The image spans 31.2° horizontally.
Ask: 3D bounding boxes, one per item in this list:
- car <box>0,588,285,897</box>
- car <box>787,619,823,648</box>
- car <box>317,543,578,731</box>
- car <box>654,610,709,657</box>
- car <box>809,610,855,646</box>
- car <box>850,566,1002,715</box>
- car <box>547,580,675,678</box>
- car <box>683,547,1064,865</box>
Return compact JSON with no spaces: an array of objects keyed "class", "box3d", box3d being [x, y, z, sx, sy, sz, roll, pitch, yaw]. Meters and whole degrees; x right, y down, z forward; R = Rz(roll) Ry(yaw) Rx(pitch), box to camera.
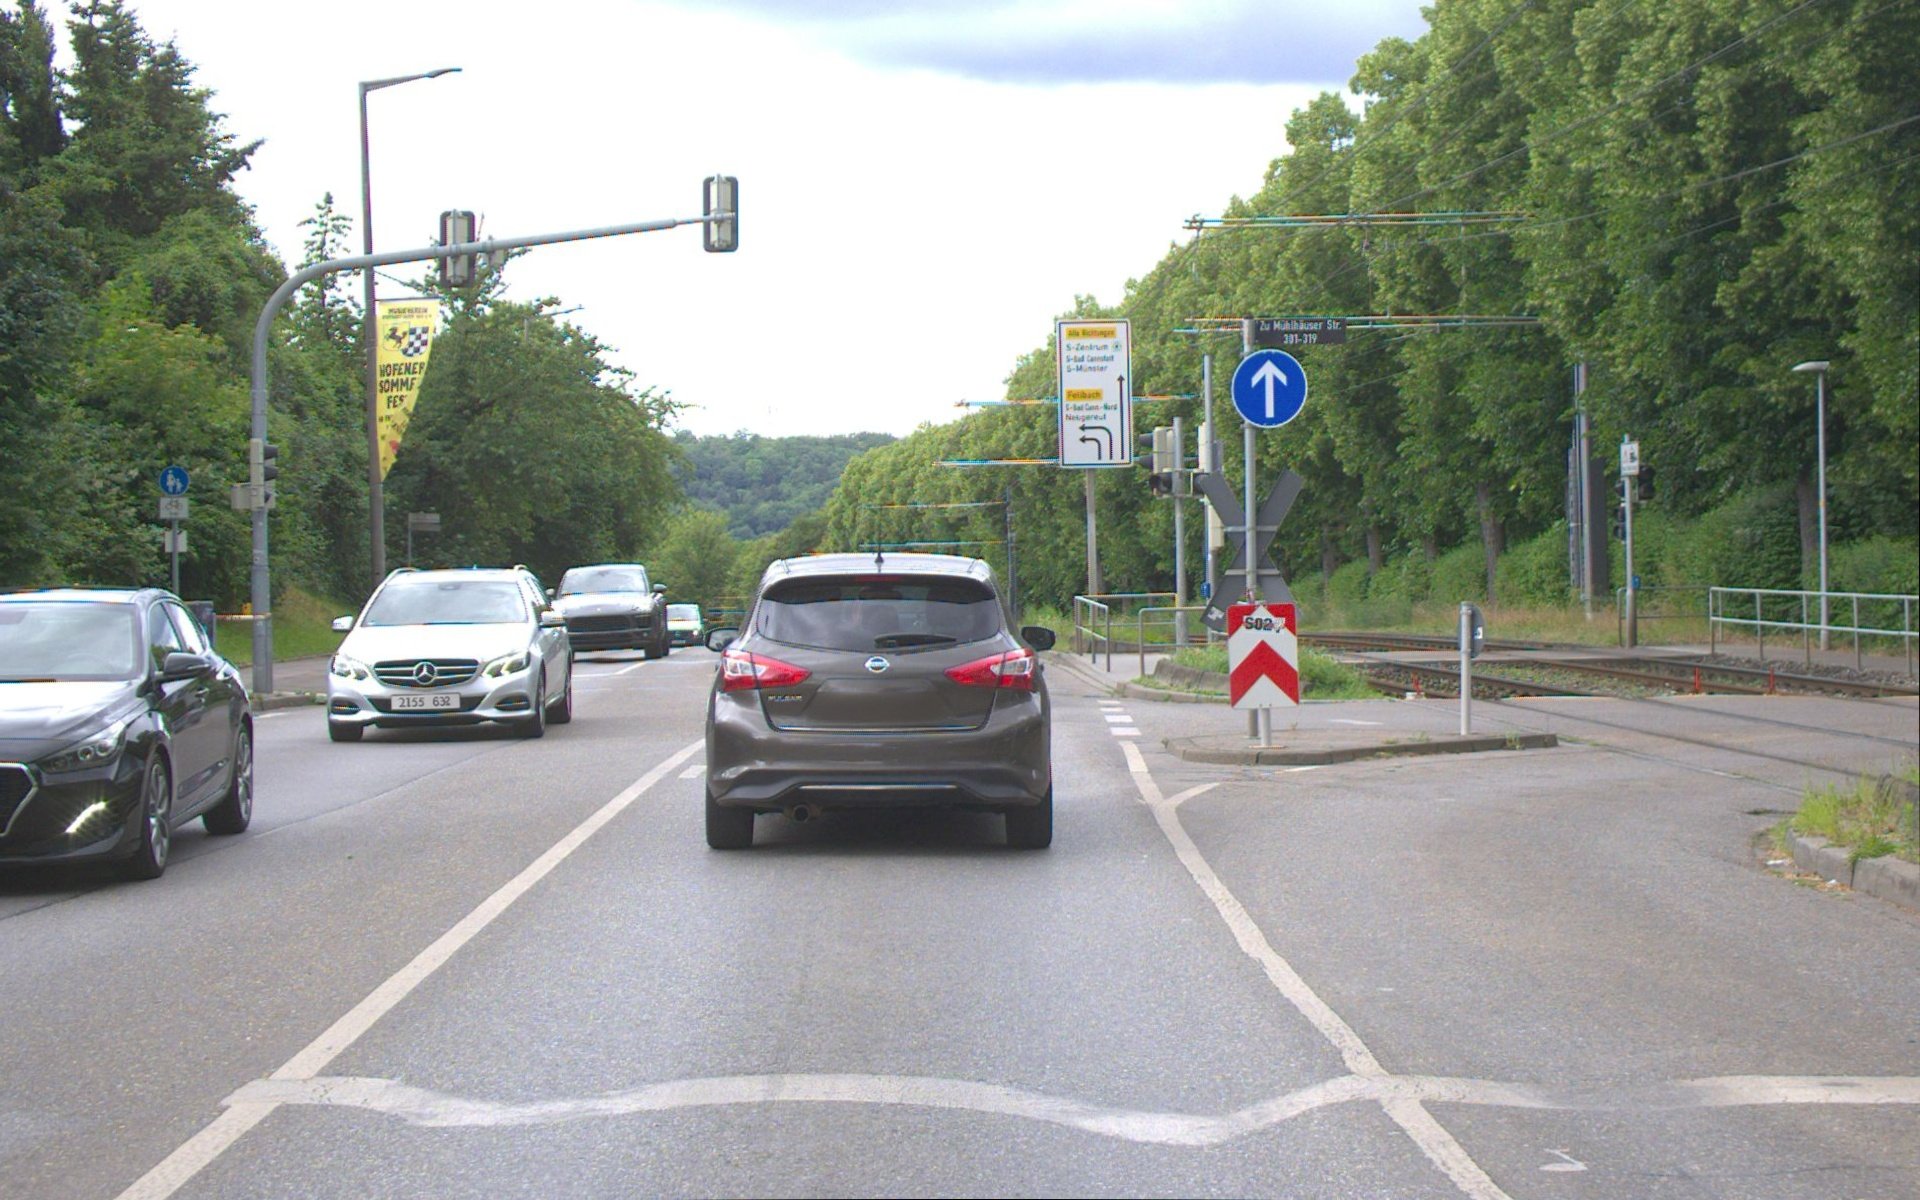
[{"class":"car","box3d":[-4.844,0.663,17.916,1.812,1.368,4.160,-1,1,0]},{"class":"car","box3d":[-7.762,1.661,172.211,1.741,1.305,4.000,1,1,-2]},{"class":"car","box3d":[-4.589,0.275,31.446,1.818,1.561,5.206,0,1,-2]},{"class":"car","box3d":[-10.158,1.208,125.699,1.785,1.690,4.000,-1,0,-2]},{"class":"car","box3d":[-5.044,1.090,135.226,1.741,1.305,4.000,1,1,-2]},{"class":"car","box3d":[-0.365,0.397,37.330,1.538,1.473,3.764,-1,1,0]},{"class":"car","box3d":[-5.880,0.494,58.374,1.901,1.569,4.483,1,0,-3]},{"class":"car","box3d":[-0.438,0.483,18.974,1.835,1.514,4.483,1,1,0]}]
